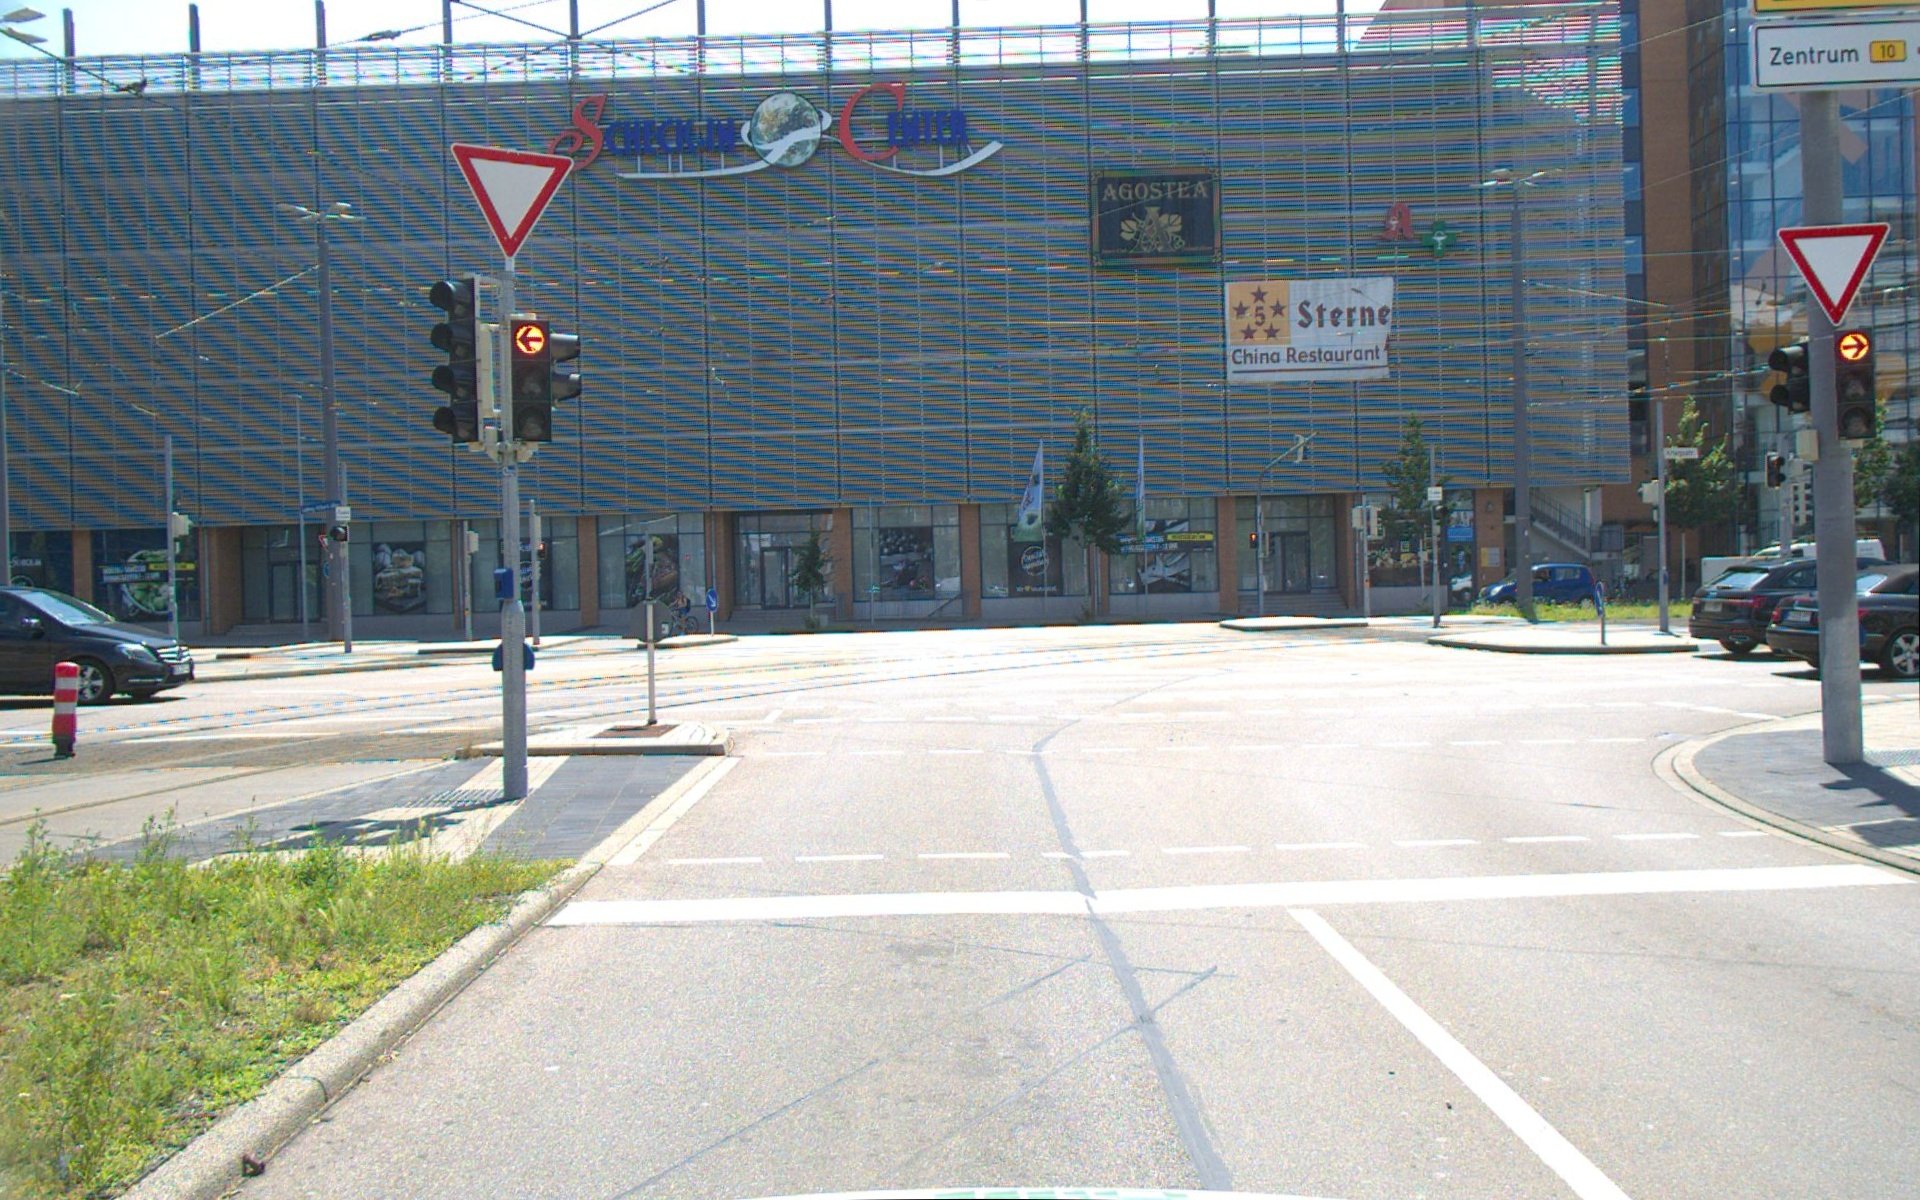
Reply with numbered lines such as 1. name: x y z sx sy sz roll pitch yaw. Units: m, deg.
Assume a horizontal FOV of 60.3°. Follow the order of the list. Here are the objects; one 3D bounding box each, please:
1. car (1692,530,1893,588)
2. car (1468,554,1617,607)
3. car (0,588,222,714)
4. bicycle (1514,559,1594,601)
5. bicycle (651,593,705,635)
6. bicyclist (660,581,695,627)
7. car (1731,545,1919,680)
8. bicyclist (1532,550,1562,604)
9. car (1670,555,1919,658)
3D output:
1. car: 25.769 -1.278 51.281 5.356 1.697 1.998 -1 1 -5
2. car: 17.767 -0.606 50.566 3.906 1.565 1.881 -1 1 -2
3. car: -12.575 0.665 22.394 4.234 1.580 1.999 -1 1 -4
4. bicycle: 22.847 -0.769 63.639 2.790 1.584 0.705 -1 1 3
5. bicycle: -10.011 0.477 58.781 1.039 1.414 3.026 0 1 7
6. bicyclist: -10.026 0.140 58.684 1.017 1.599 0.778 0 1 7
7. car: 12.879 0.077 21.850 4.460 1.603 1.998 -3 1 -5
8. bicyclist: 22.580 -0.873 63.633 0.893 2.049 0.748 -1 1 2
9. car: 13.624 0.060 25.378 4.669 1.485 1.887 -1 1 -3
